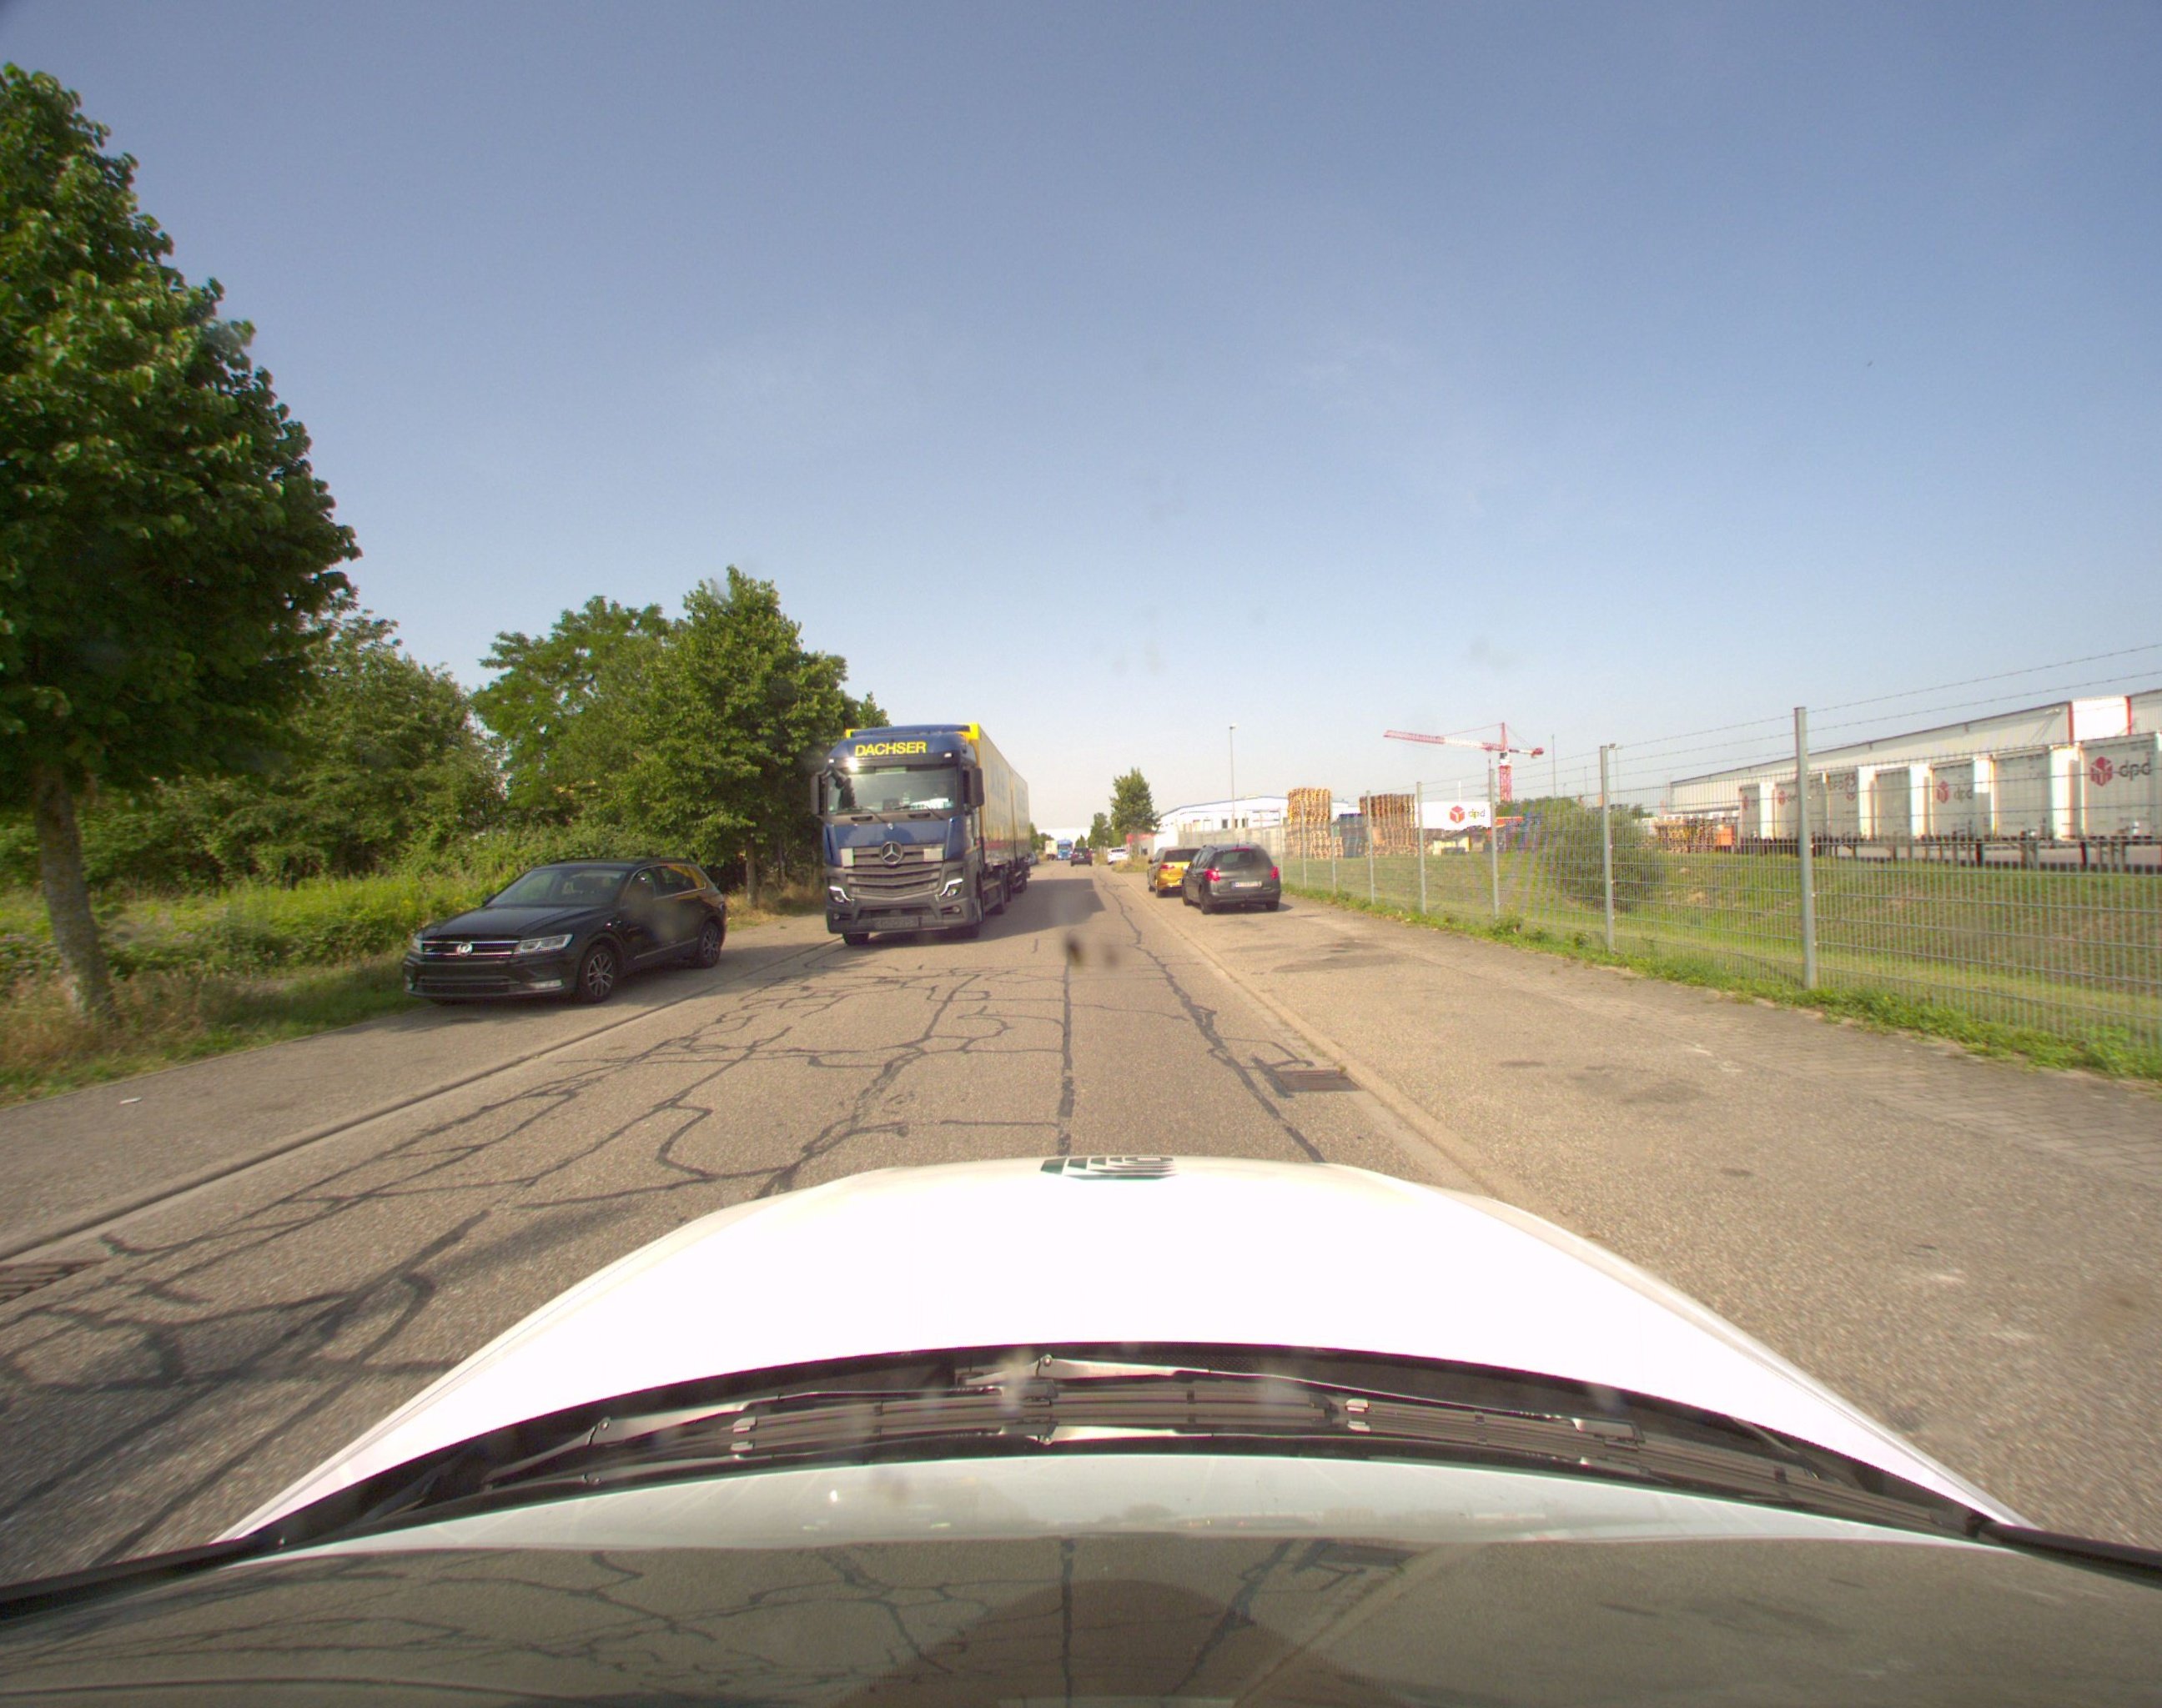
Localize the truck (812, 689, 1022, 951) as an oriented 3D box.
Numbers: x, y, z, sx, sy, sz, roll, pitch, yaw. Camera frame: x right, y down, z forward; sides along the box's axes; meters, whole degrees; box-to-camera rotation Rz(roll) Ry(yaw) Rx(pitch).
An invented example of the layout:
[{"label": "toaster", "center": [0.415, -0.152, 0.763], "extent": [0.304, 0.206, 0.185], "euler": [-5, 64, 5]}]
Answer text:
[{"label": "truck", "center": [-3.058, -0.581, 18.516], "extent": [2.490, 4.145, 10.376], "euler": [-3, 0, 0]}]

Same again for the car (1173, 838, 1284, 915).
[{"label": "car", "center": [3.332, 0.458, 19.142], "extent": [1.710, 1.515, 4.001], "euler": [-3, 0, -2]}]

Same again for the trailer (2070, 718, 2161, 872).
[{"label": "trailer", "center": [31.488, -1.508, 20.612], "extent": [7.898, 3.893, 2.789], "euler": [0, 1, 18]}]

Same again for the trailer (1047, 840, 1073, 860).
[{"label": "trailer", "center": [-4.136, -0.742, 158.004], "extent": [2.881, 3.760, 12.029], "euler": [-1, 0, -12]}]

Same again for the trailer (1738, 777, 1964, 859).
[{"label": "trailer", "center": [38.737, -1.763, 41.343], "extent": [7.898, 3.893, 2.756], "euler": [0, 1, 18]}]

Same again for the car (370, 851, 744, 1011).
[{"label": "car", "center": [-6.261, 0.776, 10.530], "extent": [1.896, 1.626, 4.450], "euler": [0, 0, 1]}]

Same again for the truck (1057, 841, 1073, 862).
[{"label": "truck", "center": [-2.913, -0.494, 149.432], "extent": [2.871, 3.760, 6.080], "euler": [-1, 0, -2]}]

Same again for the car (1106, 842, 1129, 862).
[{"label": "car", "center": [3.109, -0.154, 70.356], "extent": [1.710, 1.680, 3.948], "euler": [-1, 0, -1]}]

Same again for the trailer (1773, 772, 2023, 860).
[{"label": "trailer", "center": [38.067, -1.740, 38.342], "extent": [7.898, 3.893, 2.756], "euler": [0, 1, 18]}]

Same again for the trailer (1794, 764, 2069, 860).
[{"label": "trailer", "center": [36.664, -1.750, 35.517], "extent": [7.898, 3.893, 2.789], "euler": [0, 1, 18]}]

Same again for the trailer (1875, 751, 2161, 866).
[{"label": "trailer", "center": [34.804, -1.588, 29.706], "extent": [7.898, 3.893, 2.789], "euler": [0, 1, 18]}]

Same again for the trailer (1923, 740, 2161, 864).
[{"label": "trailer", "center": [33.874, -1.664, 26.989], "extent": [7.898, 3.893, 2.789], "euler": [0, 1, 18]}]

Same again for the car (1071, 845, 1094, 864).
[{"label": "car", "center": [0.081, 0.035, 72.588], "extent": [1.876, 1.586, 4.110], "euler": [-2, 0, -2]}]

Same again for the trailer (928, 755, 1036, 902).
[{"label": "trailer", "center": [-3.108, -0.764, 27.996], "extent": [2.491, 4.145, 8.495], "euler": [-3, 0, 0]}]

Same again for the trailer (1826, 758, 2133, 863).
[{"label": "trailer", "center": [35.665, -1.673, 32.770], "extent": [7.898, 3.893, 2.789], "euler": [0, 1, 18]}]

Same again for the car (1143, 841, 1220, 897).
[{"label": "car", "center": [2.950, 0.397, 24.684], "extent": [1.710, 1.455, 4.185], "euler": [-3, 0, -1]}]

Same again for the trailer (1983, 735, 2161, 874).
[{"label": "trailer", "center": [32.263, -1.416, 23.566], "extent": [7.898, 3.893, 2.789], "euler": [0, 1, 18]}]

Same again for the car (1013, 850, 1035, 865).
[{"label": "car", "center": [-5.791, 0.329, 82.880], "extent": [1.799, 1.496, 3.936], "euler": [-1, 0, 1]}]
